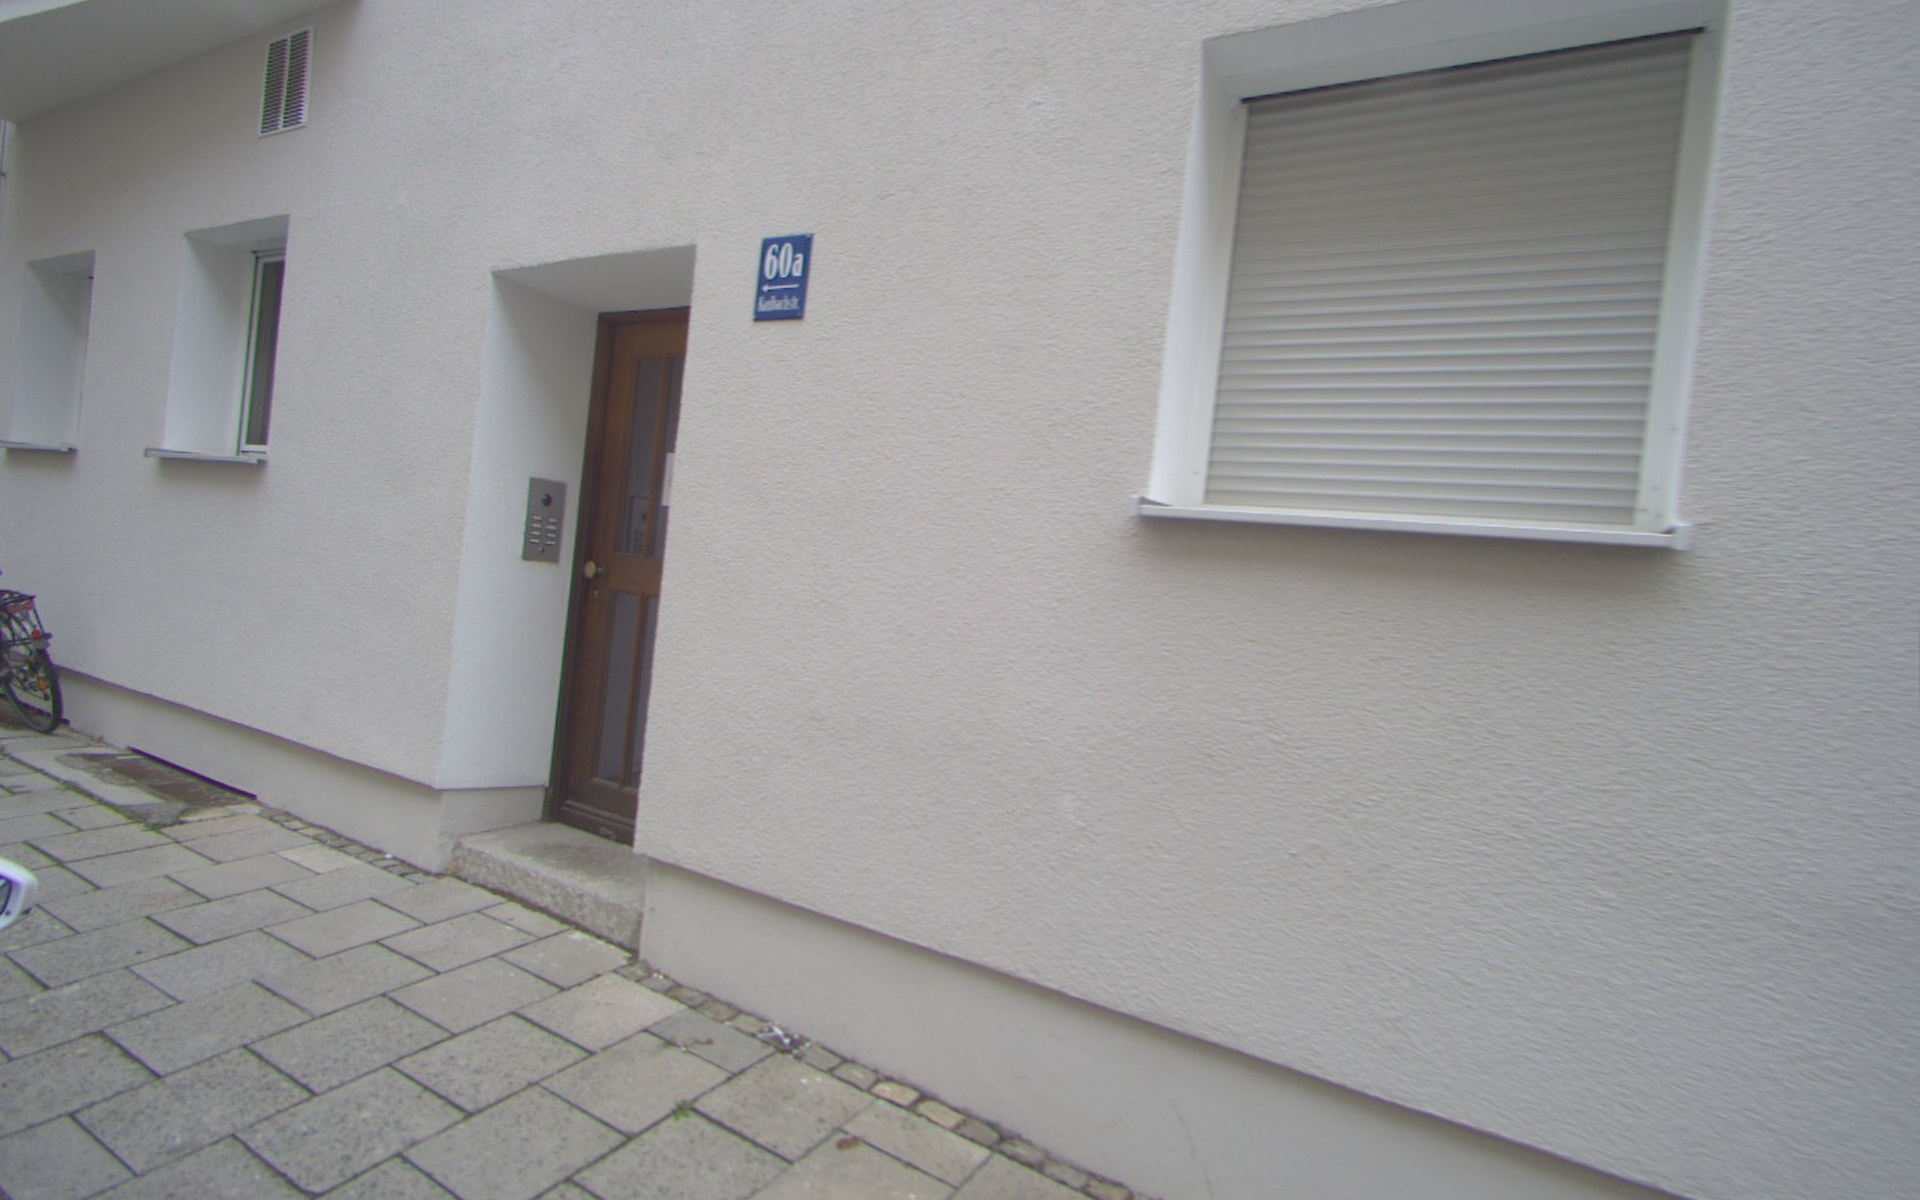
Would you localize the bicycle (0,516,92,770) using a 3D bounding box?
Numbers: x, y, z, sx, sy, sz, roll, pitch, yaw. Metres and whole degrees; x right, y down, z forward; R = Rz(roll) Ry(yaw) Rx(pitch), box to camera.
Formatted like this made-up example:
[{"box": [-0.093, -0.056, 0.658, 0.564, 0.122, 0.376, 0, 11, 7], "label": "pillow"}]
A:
[{"box": [-5.390, 0.139, 5.320, 1.883, 1.169, 0.638, 8, 4, 31], "label": "bicycle"}]
